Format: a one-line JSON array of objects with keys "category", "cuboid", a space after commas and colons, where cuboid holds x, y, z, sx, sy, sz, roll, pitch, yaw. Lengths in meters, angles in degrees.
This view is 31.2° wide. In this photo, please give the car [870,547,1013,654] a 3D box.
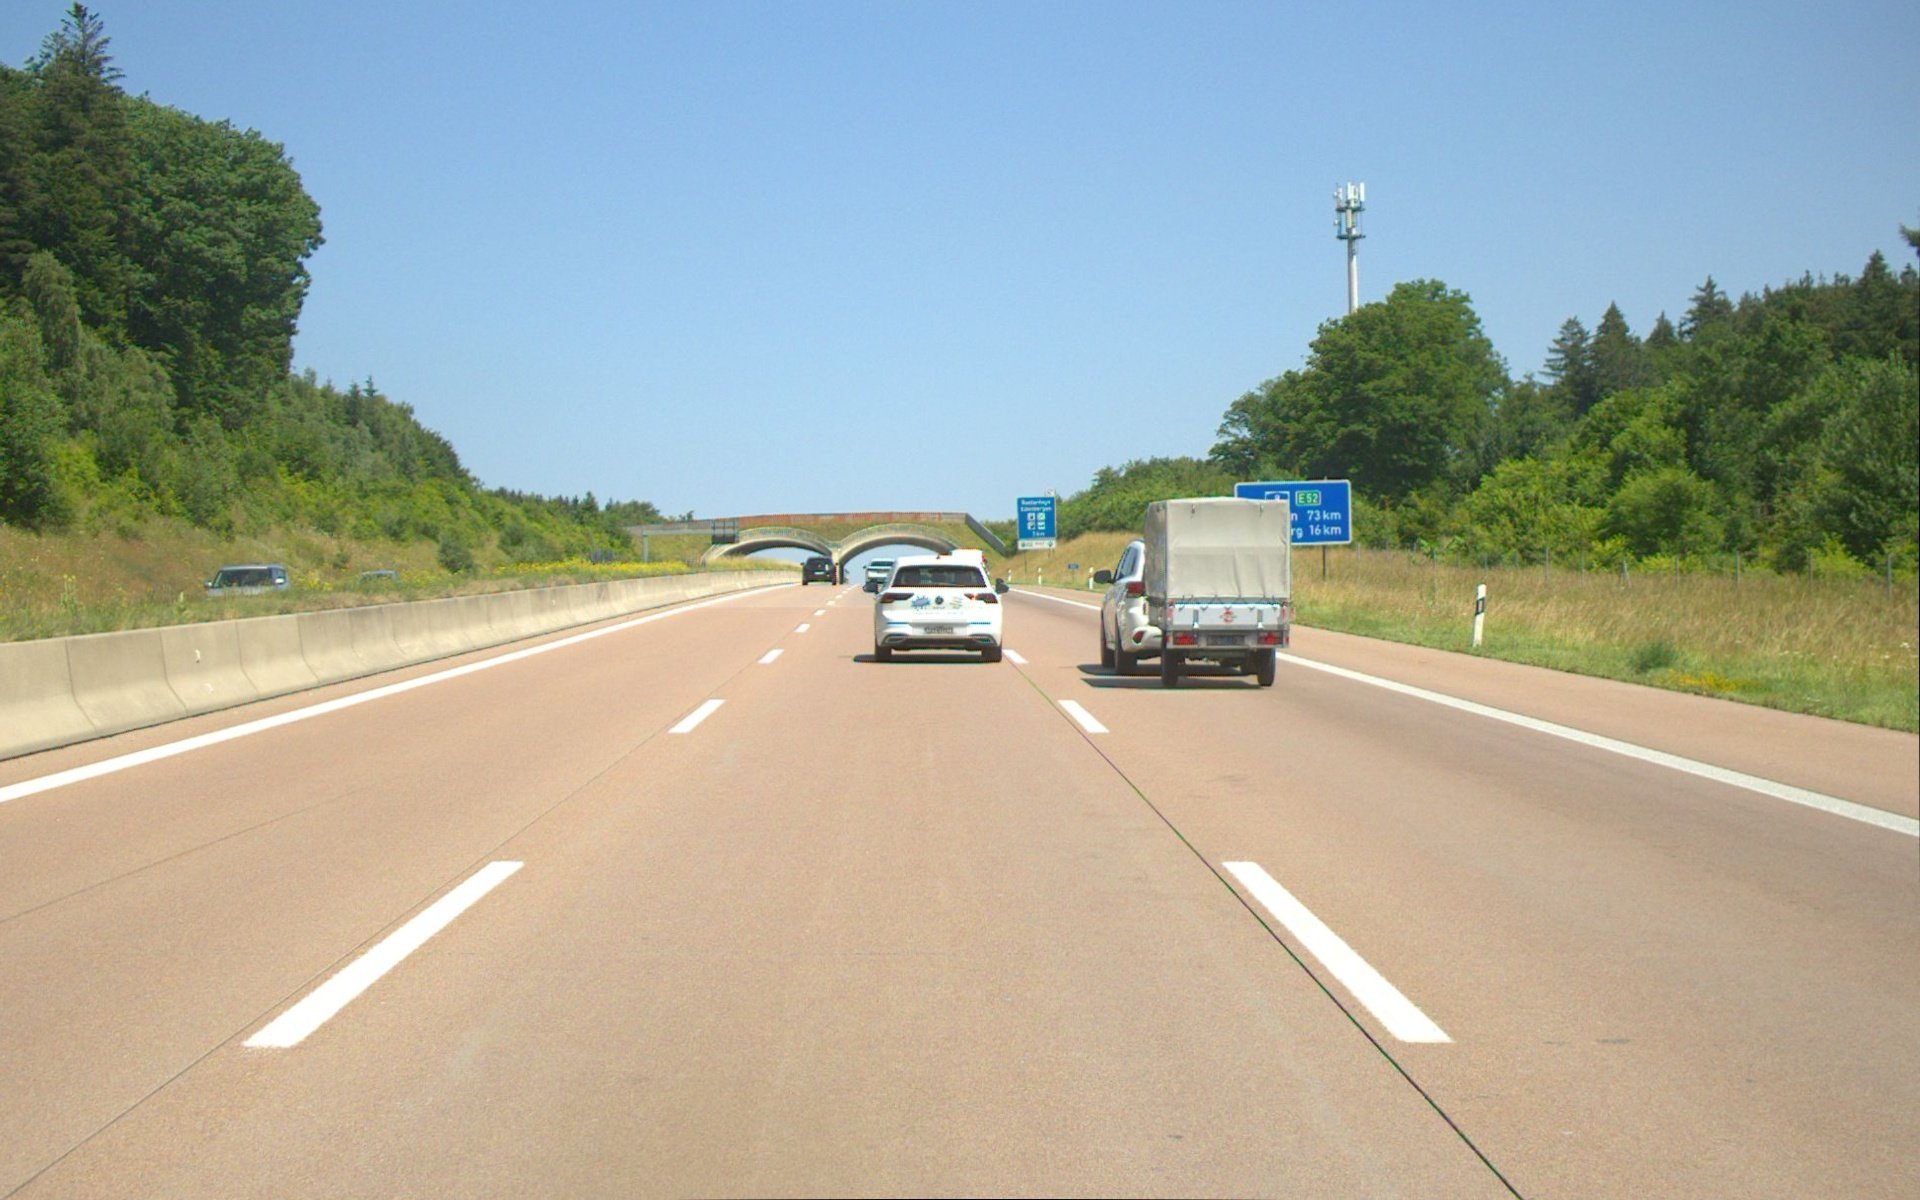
[{"category": "car", "cuboid": [-0.294, -0.020, 47.633, 1.890, 1.393, 4.000, 1, 1, -1]}]

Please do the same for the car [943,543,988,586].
[{"category": "car", "cuboid": [0.274, -1.746, 166.424, 2.110, 2.047, 4.000, 0, 1, 1]}]

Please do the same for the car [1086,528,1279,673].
[{"category": "car", "cuboid": [2.746, -0.020, 43.506, 1.890, 1.722, 5.187, 0, 1, -2]}]

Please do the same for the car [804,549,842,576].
[{"category": "car", "cuboid": [-7.594, -2.092, 190.977, 1.891, 1.458, 4.000, 0, 1, 1]}]

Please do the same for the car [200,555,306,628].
[{"category": "car", "cuboid": [-17.554, -0.234, 85.514, 1.890, 1.732, 4.464, 0, 1, -2]}]

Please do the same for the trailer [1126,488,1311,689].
[{"category": "trailer", "cuboid": [2.878, -0.146, 38.939, 1.657, 2.156, 4.016, 0, 1, -2]}]

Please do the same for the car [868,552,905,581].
[{"category": "car", "cuboid": [-3.834, -1.780, 179.614, 1.891, 1.458, 4.000, 1, 1, -1]}]
